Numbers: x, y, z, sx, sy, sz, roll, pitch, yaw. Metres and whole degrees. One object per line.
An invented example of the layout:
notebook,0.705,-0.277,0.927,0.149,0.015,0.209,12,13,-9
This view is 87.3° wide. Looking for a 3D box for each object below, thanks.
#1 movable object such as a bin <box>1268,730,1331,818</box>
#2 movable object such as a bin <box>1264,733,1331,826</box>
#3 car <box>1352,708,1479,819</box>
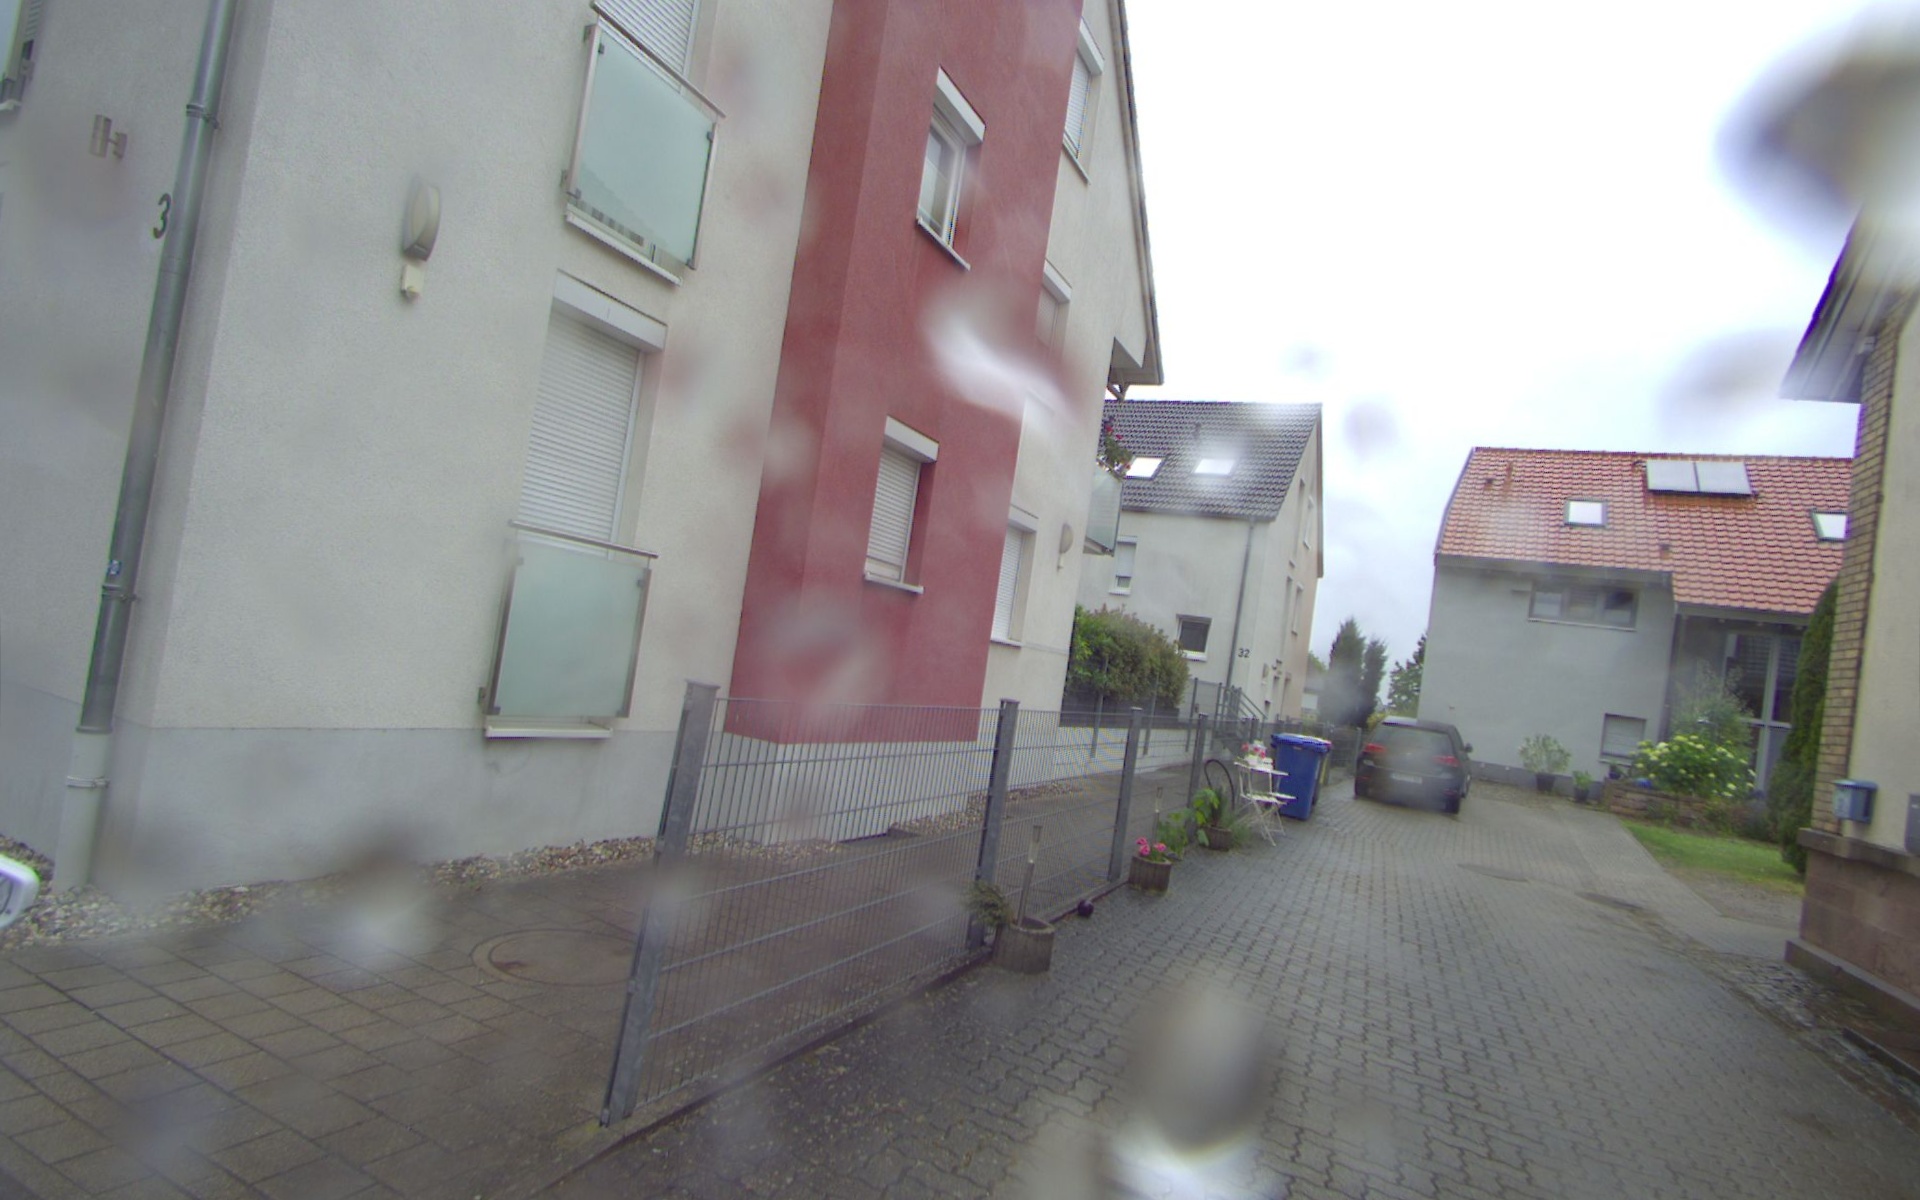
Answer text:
movable object such as a bin,4.812,2.442,14.257,0.675,1.108,0.536,7,-2,25
movable object such as a bin,4.522,2.382,13.467,0.675,1.108,0.536,7,-2,25
car,8.546,2.918,18.698,1.656,1.491,3.993,7,0,30
